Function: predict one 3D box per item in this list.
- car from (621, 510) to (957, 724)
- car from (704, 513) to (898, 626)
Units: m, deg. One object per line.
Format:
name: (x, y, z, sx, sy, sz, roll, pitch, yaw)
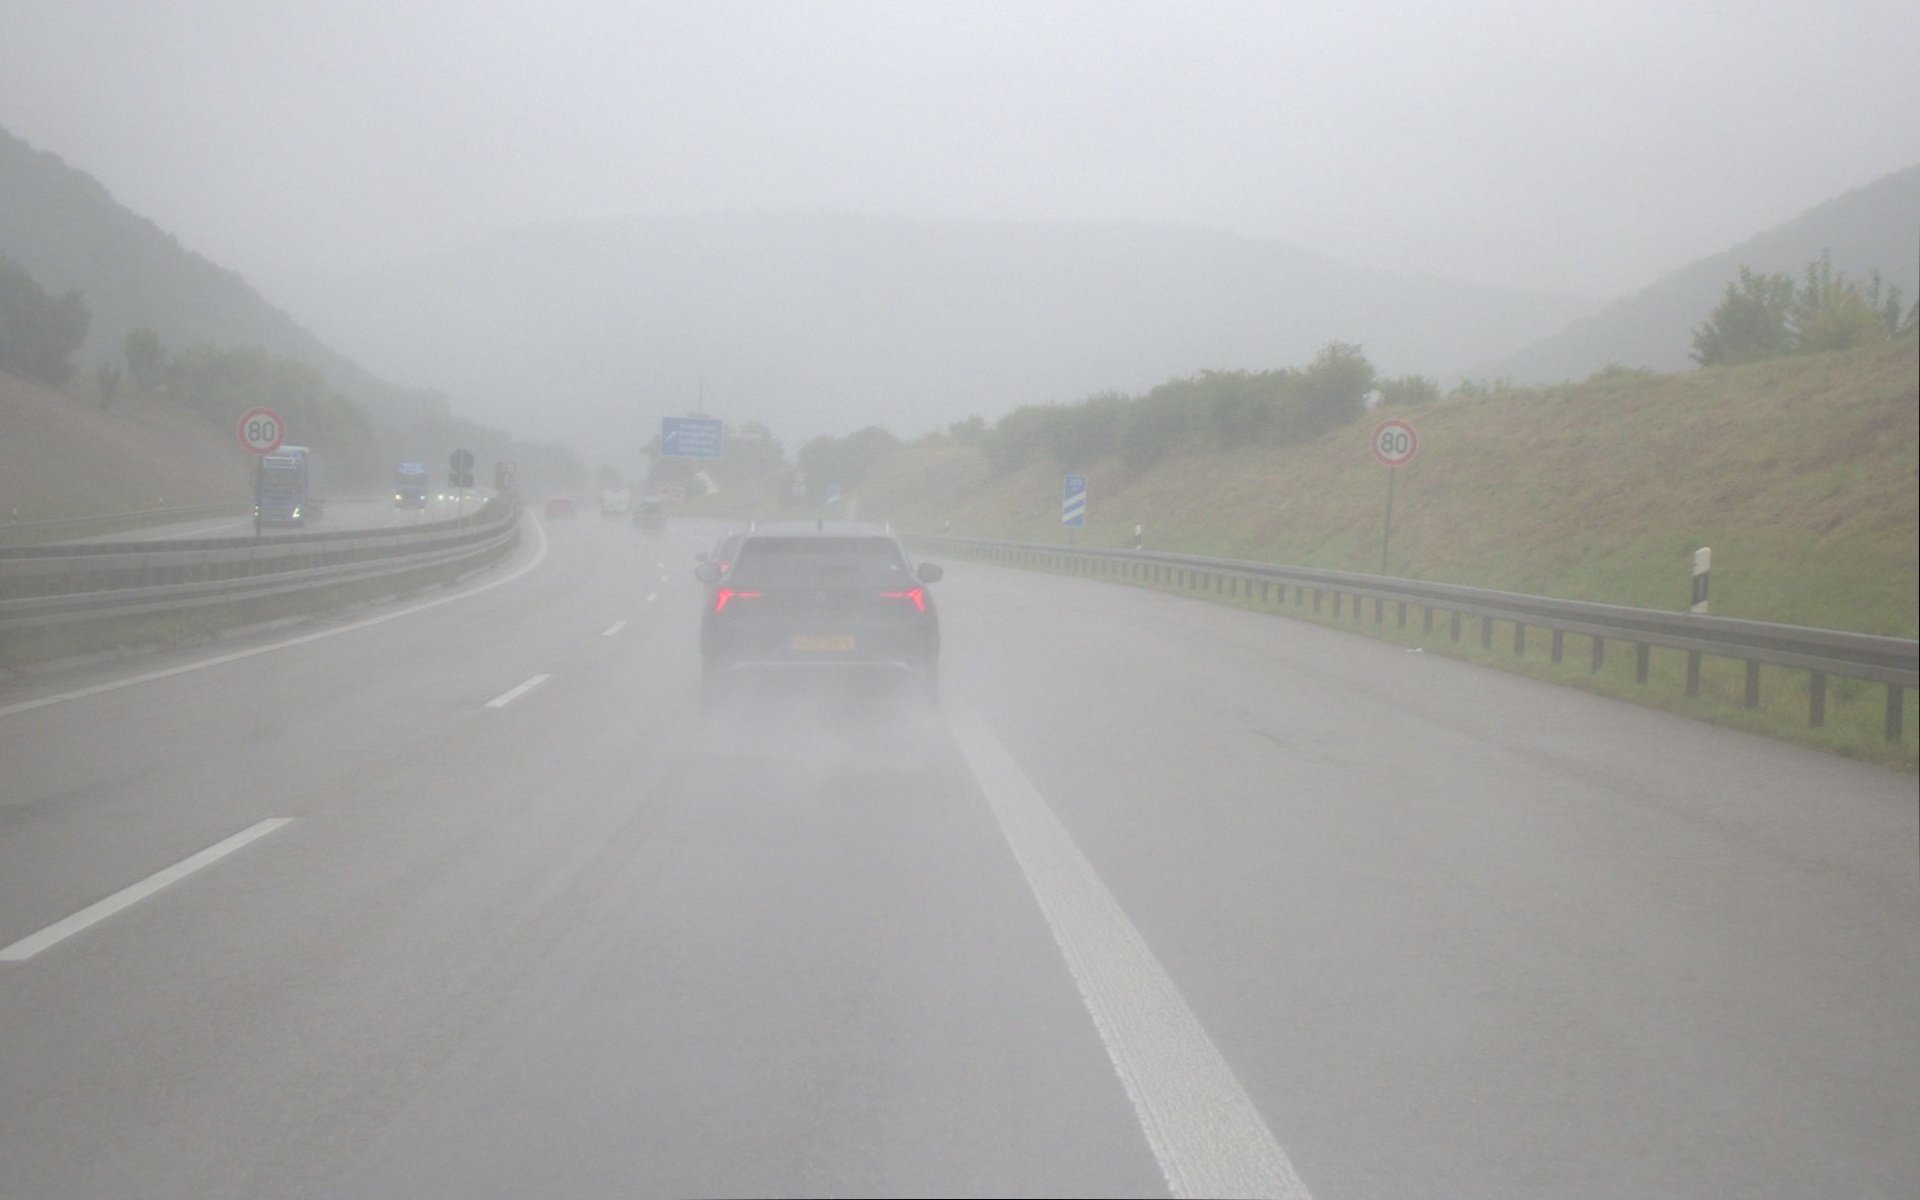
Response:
car: (-1.273, 0.115, 27.913, 2.406, 1.510, 4.784, 2, 0, 0)
car: (-2.458, -0.451, 51.524, 2.665, 1.510, 5.718, 2, 0, -4)
